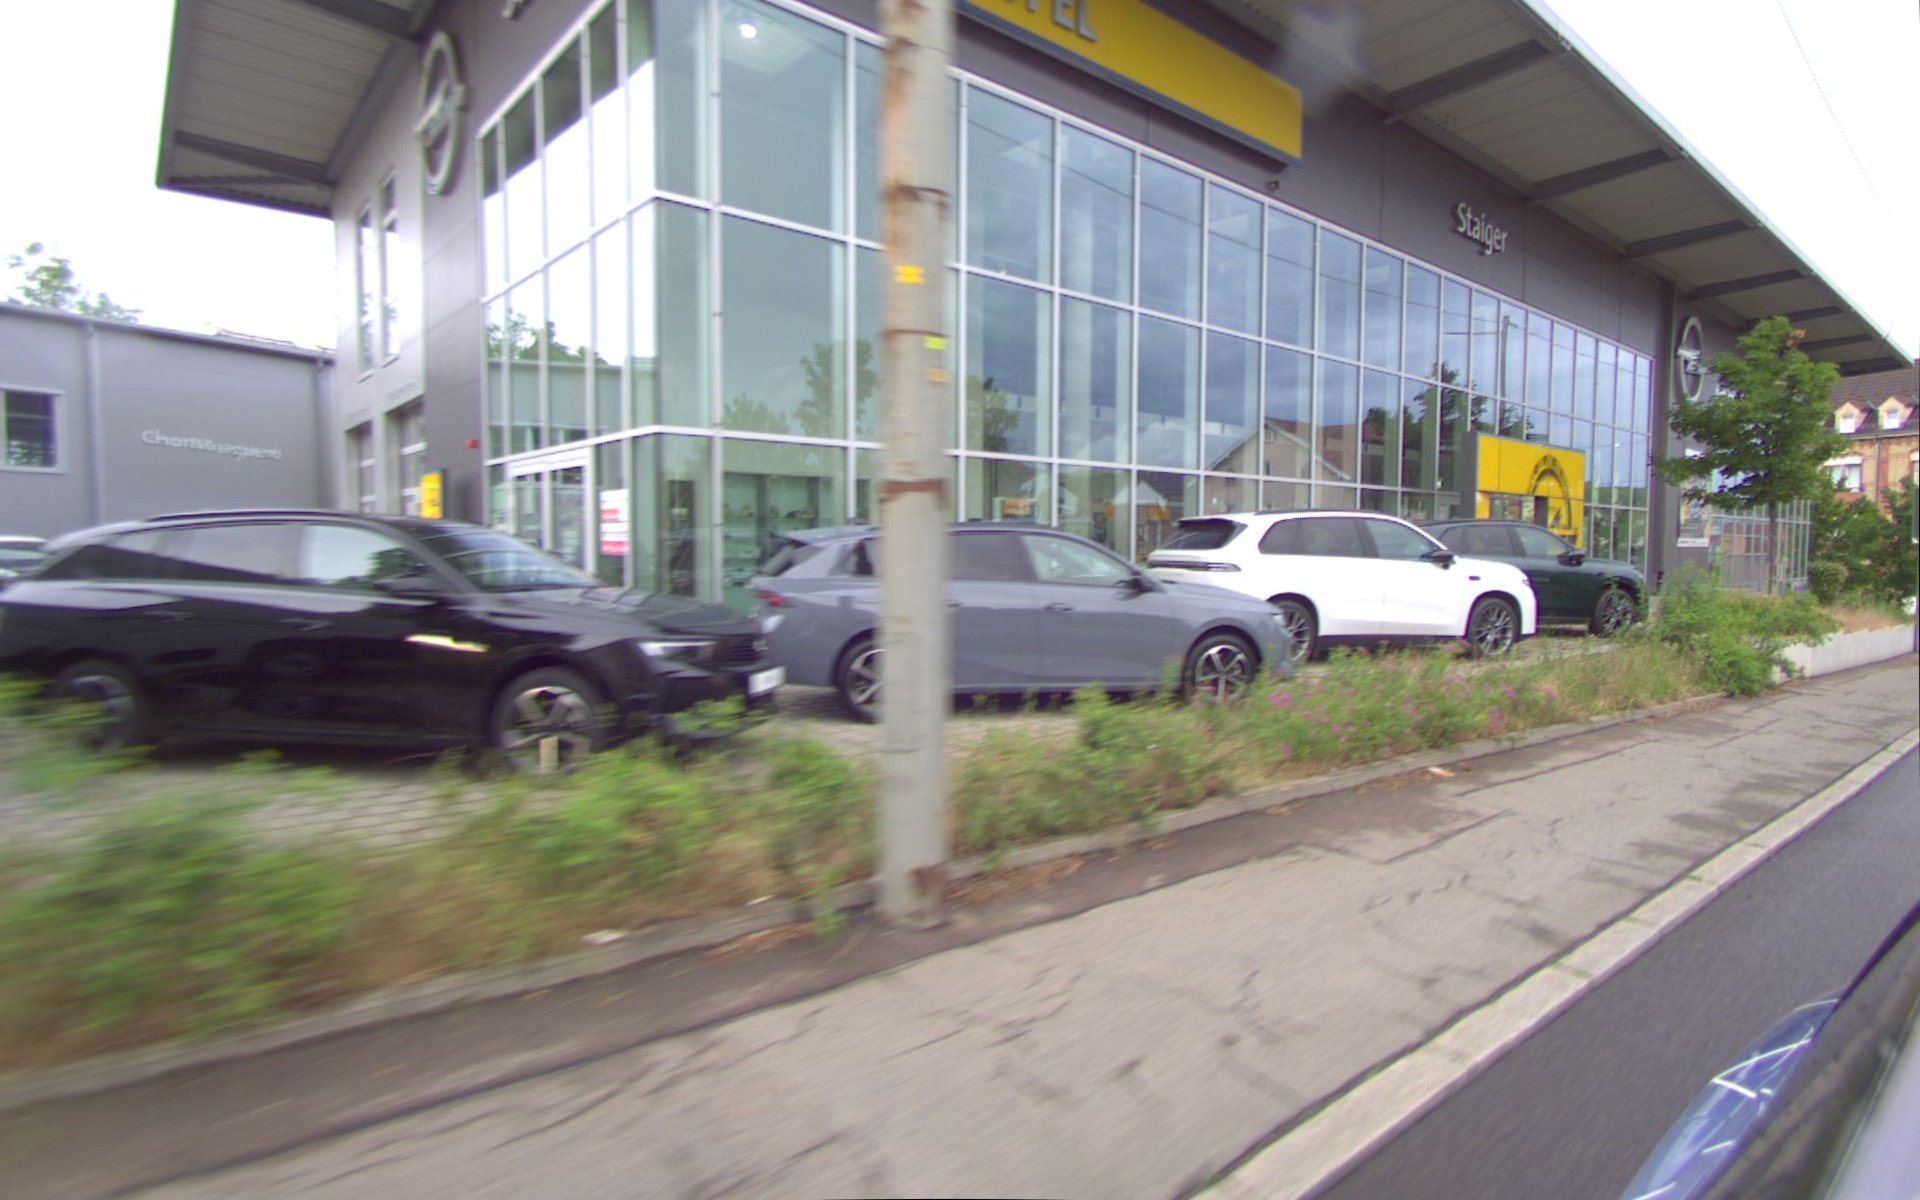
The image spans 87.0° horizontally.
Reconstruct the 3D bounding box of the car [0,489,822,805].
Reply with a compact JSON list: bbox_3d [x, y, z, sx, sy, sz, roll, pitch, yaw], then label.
[{"bbox_3d":[-3.252,0.140,6.155,4.441,1.472,1.913,2,3,7],"label":"car"}]

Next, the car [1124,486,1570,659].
[{"bbox_3d":[4.409,-0.332,11.725,4.481,1.731,2.006,0,4,-17],"label":"car"}]

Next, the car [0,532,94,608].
[{"bbox_3d":[-21.324,-0.677,22.598,3.967,1.569,1.828,1,2,30],"label":"car"}]

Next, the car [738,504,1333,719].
[{"bbox_3d":[0.478,0.036,8.329,4.476,1.472,1.921,1,3,-12],"label":"car"}]

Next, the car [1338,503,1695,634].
[{"bbox_3d":[8.120,-0.465,14.925,4.335,1.731,2.005,0,3,-14],"label":"car"}]
